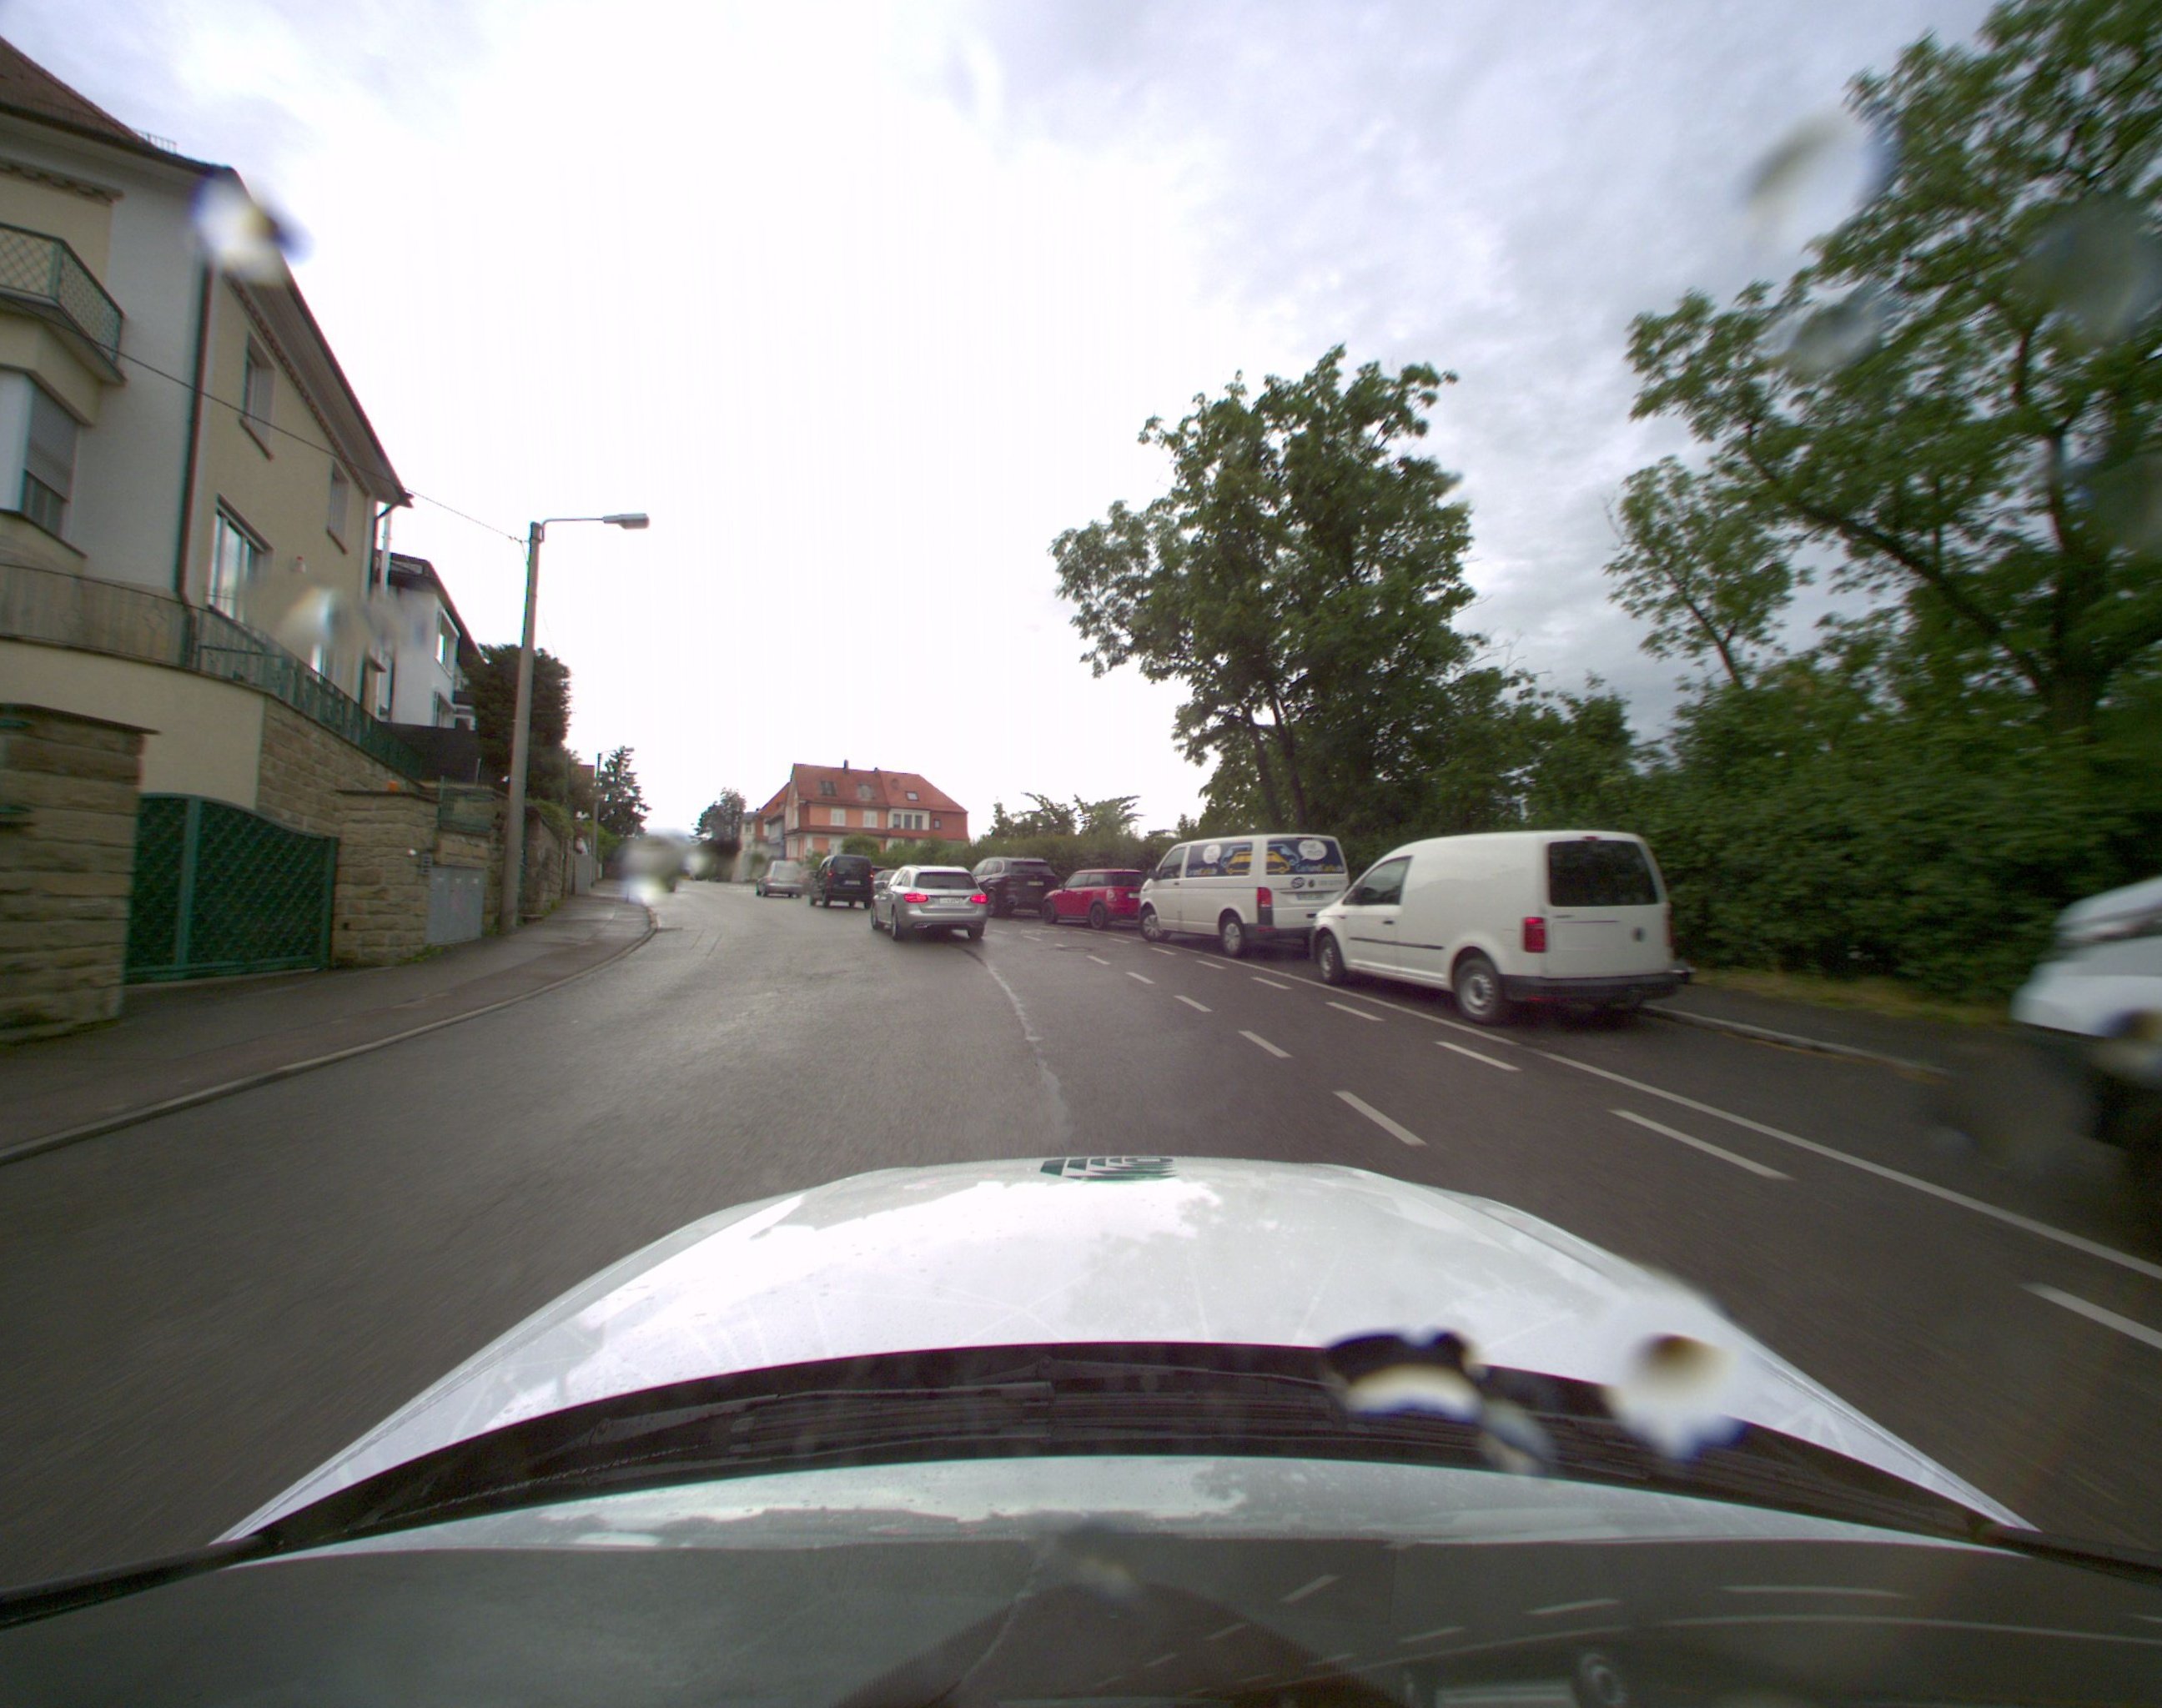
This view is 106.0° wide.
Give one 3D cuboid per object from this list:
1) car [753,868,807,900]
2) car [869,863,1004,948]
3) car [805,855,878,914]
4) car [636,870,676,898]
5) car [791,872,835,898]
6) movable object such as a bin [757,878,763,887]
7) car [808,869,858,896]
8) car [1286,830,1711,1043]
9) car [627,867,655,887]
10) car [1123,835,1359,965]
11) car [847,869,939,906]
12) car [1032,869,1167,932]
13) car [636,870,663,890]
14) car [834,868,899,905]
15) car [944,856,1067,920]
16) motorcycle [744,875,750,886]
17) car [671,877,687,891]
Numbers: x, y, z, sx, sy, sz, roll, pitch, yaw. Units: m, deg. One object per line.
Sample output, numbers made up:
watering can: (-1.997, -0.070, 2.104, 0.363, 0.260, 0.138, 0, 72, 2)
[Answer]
car: (-14.860, 1.486, 40.114, 1.865, 1.459, 4.056, -1, -3, -29)
car: (-3.208, 1.001, 17.322, 1.991, 1.554, 4.265, 0, -1, -22)
car: (-8.635, 1.015, 29.148, 1.834, 1.882, 4.060, -1, 0, -26)
car: (-24.982, 1.720, 47.809, 1.909, 1.567, 4.198, 1, -2, -29)
car: (-16.949, 1.939, 51.368, 1.764, 1.530, 4.165, 4, -3, -29)
movable object such as a bin: (-35.829, 3.169, 90.864, 0.552, 0.936, 0.628, 0, -1, -29)
car: (-14.272, 1.626, 46.628, 1.723, 1.406, 4.564, 4, -3, -29)
car: (4.197, 0.715, 9.163, 1.862, 1.770, 4.358, -1, -1, -13)
car: (-36.152, 1.907, 66.894, 1.909, 1.515, 4.301, 5, -3, -29)
car: (2.656, 0.735, 14.852, 1.868, 1.948, 4.770, 1, -1, -23)
car: (-8.309, 1.444, 35.726, 1.814, 1.440, 4.586, 4, -3, -43)
car: (0.374, 1.107, 20.480, 1.681, 1.414, 3.705, 2, -2, -31)
car: (-31.255, 1.869, 58.909, 1.619, 1.338, 3.805, 4, -3, -29)
car: (-10.722, 1.584, 40.530, 1.899, 1.663, 4.504, 4, -3, -30)
car: (-2.477, 1.024, 25.353, 2.038, 1.783, 4.853, 3, -2, -28)
motorcycle: (-40.600, 3.242, 99.017, 0.585, 1.262, 2.311, 1, -2, -26)
car: (-71.688, 5.360, 145.196, 2.481, 2.400, 3.962, 0, -1, -29)
